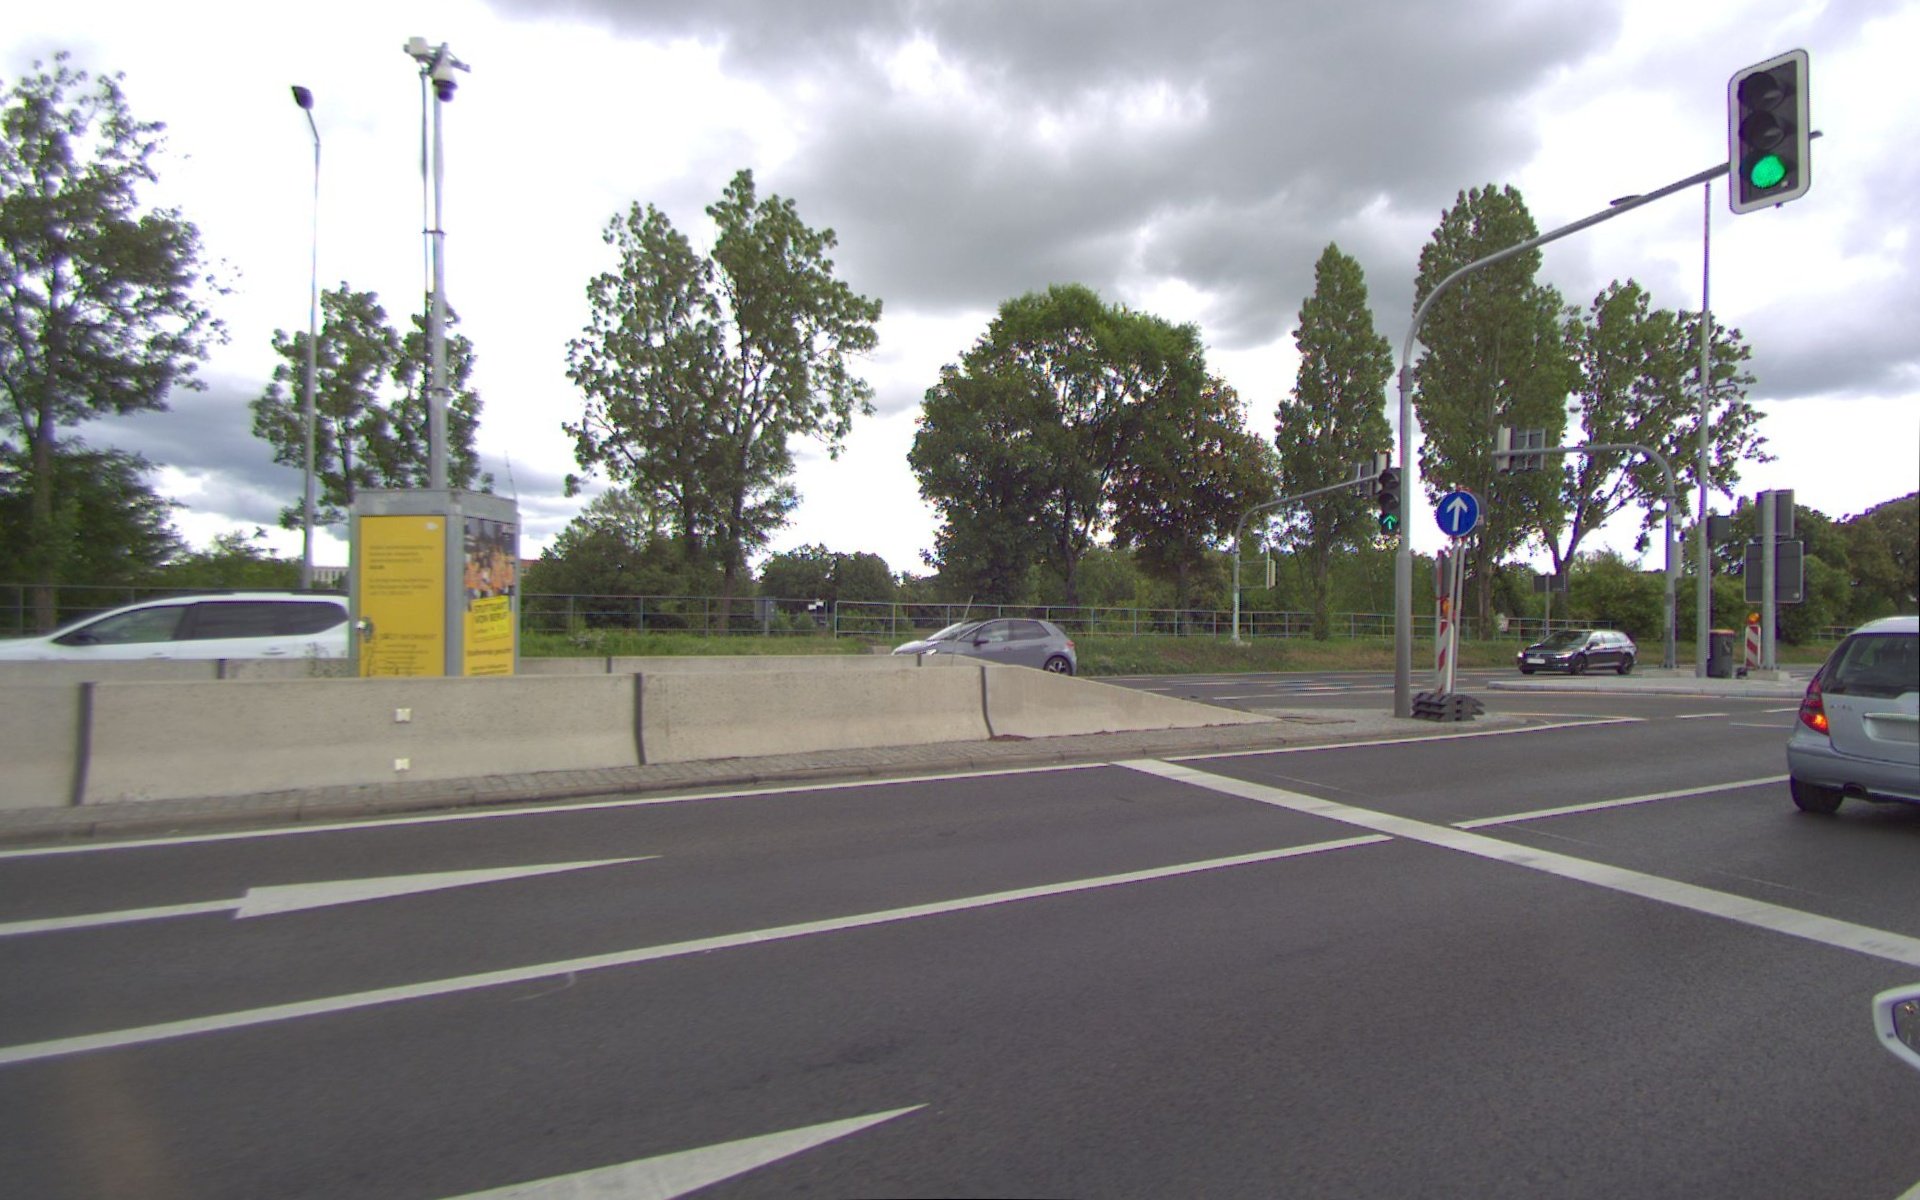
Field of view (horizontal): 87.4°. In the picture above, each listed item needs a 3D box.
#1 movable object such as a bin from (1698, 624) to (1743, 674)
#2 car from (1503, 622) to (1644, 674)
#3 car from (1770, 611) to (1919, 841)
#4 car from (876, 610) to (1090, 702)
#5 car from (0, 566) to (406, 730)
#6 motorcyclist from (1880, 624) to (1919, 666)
[{"bbox_3d":[17.155,1.094,22.662,0.732,1.073,0.538,1,2,-30],"label":"movable object such as a bin"},{"bbox_3d":[19.989,1.515,32.692,4.512,1.571,1.985,1,-1,-29],"label":"car"},{"bbox_3d":[8.321,0.909,7.934,3.954,1.550,1.702,1,1,-31],"label":"car"},{"bbox_3d":[0.524,1.113,21.674,4.237,1.679,1.983,-1,2,-31],"label":"car"},{"bbox_3d":[-9.243,0.499,12.204,4.360,1.707,1.983,1,1,-31],"label":"car"},{"bbox_3d":[37.078,1.759,39.591,0.969,1.541,0.908,4,0,-30],"label":"motorcyclist"}]
